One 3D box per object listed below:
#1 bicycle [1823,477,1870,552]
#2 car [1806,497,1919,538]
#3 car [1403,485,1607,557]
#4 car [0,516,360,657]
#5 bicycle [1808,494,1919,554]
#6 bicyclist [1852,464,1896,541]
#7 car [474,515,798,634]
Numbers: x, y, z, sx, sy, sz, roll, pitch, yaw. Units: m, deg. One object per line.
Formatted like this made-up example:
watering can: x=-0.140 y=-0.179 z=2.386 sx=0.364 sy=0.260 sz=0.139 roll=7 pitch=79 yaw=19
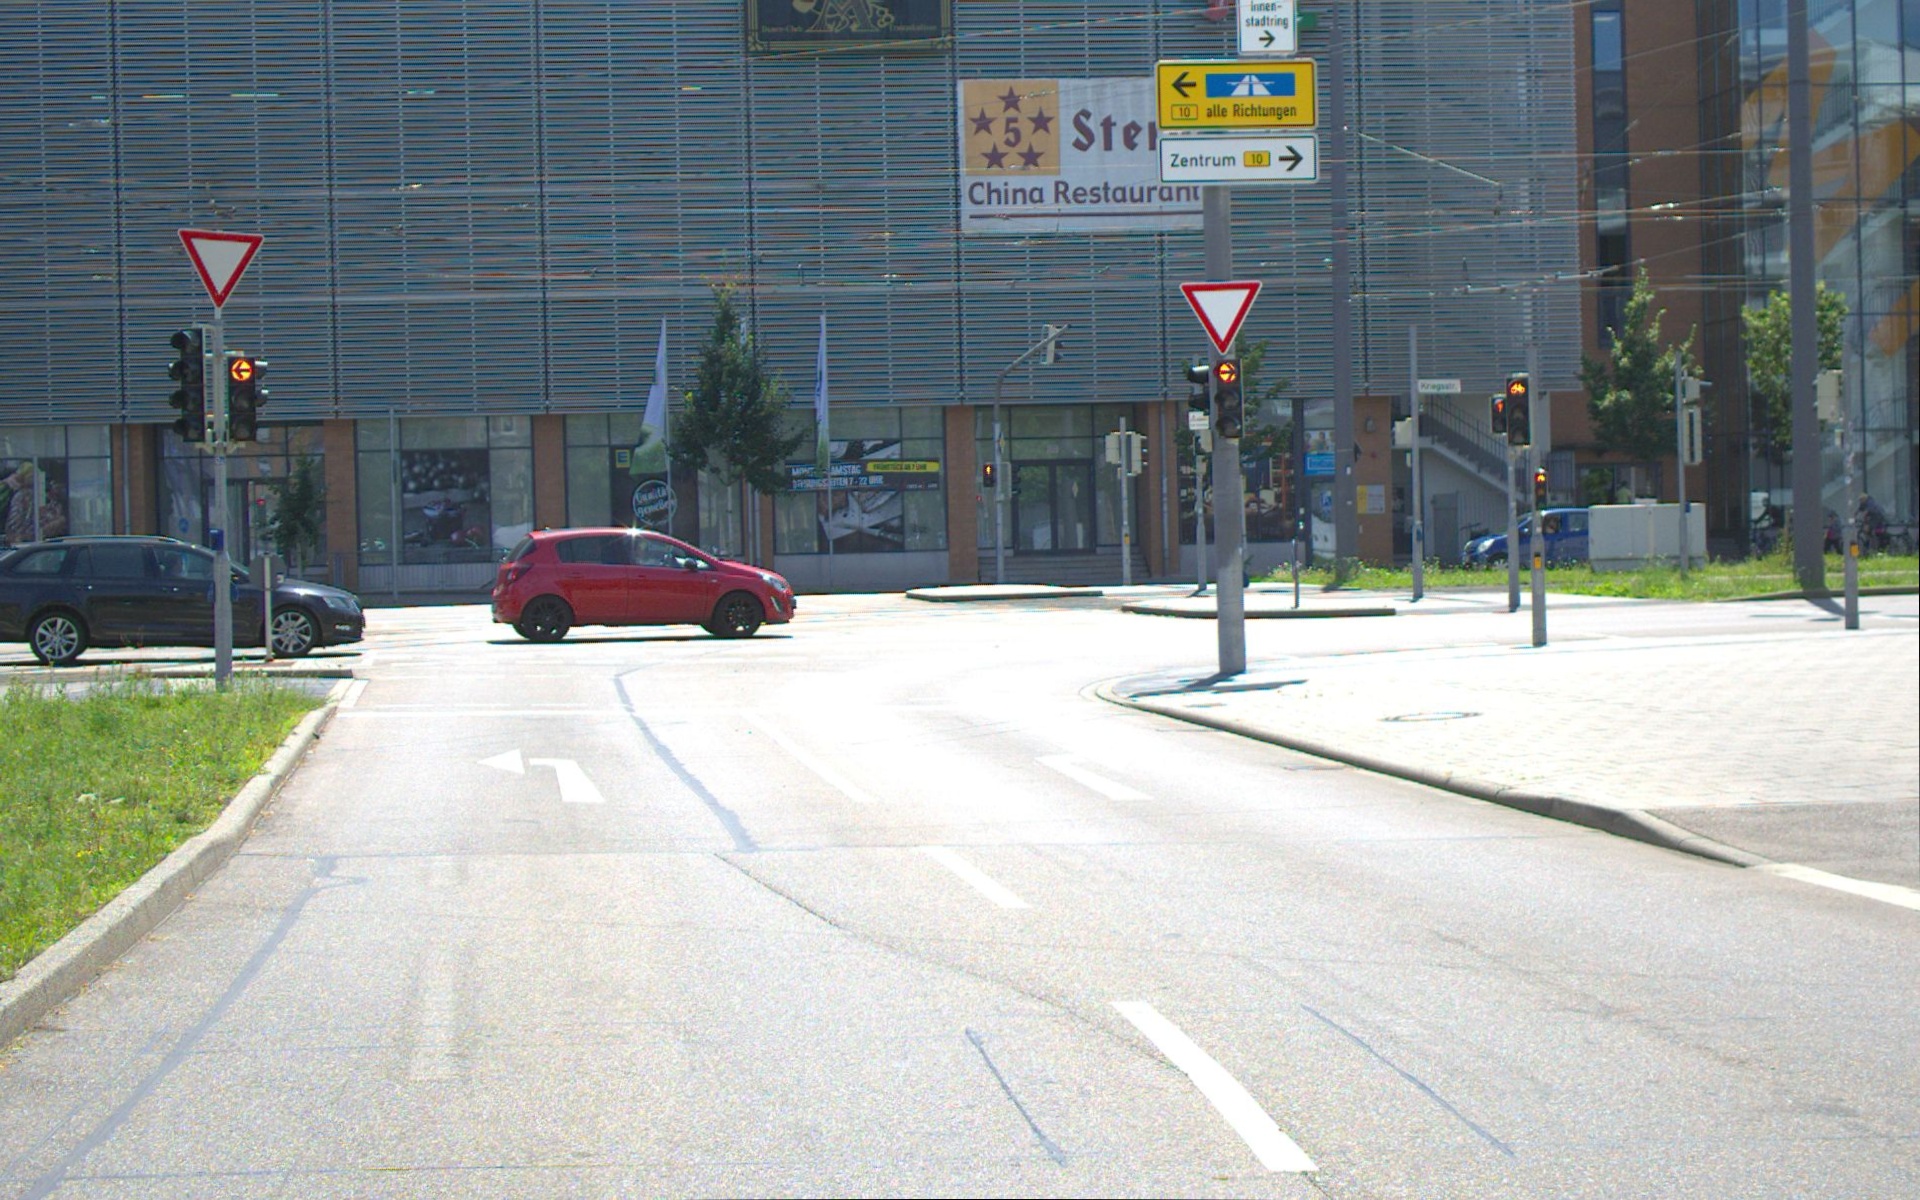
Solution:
bicycle: x=23.858 y=-2.316 z=92.586 sx=0.485 sy=2.006 sz=2.347 roll=0 pitch=2 yaw=-5
car: x=23.511 y=-2.144 z=88.664 sx=2.992 sy=1.032 sz=1.350 roll=0 pitch=2 yaw=-9
car: x=11.780 y=-1.721 z=74.413 sx=3.986 sy=1.533 sz=1.882 roll=0 pitch=2 yaw=-9
car: x=-9.541 y=-0.180 z=41.066 sx=4.524 sy=1.503 sz=1.843 roll=-2 pitch=2 yaw=-13
bicycle: x=23.807 y=-1.998 z=90.414 sx=2.849 sy=1.552 sz=0.705 roll=0 pitch=2 yaw=-4
bicyclist: x=24.017 y=-2.569 z=90.382 sx=0.912 sy=2.006 sz=0.748 roll=0 pitch=2 yaw=-5
car: x=-4.318 y=-0.356 z=45.556 sx=4.124 sy=1.503 sz=1.843 roll=0 pitch=2 yaw=-10
